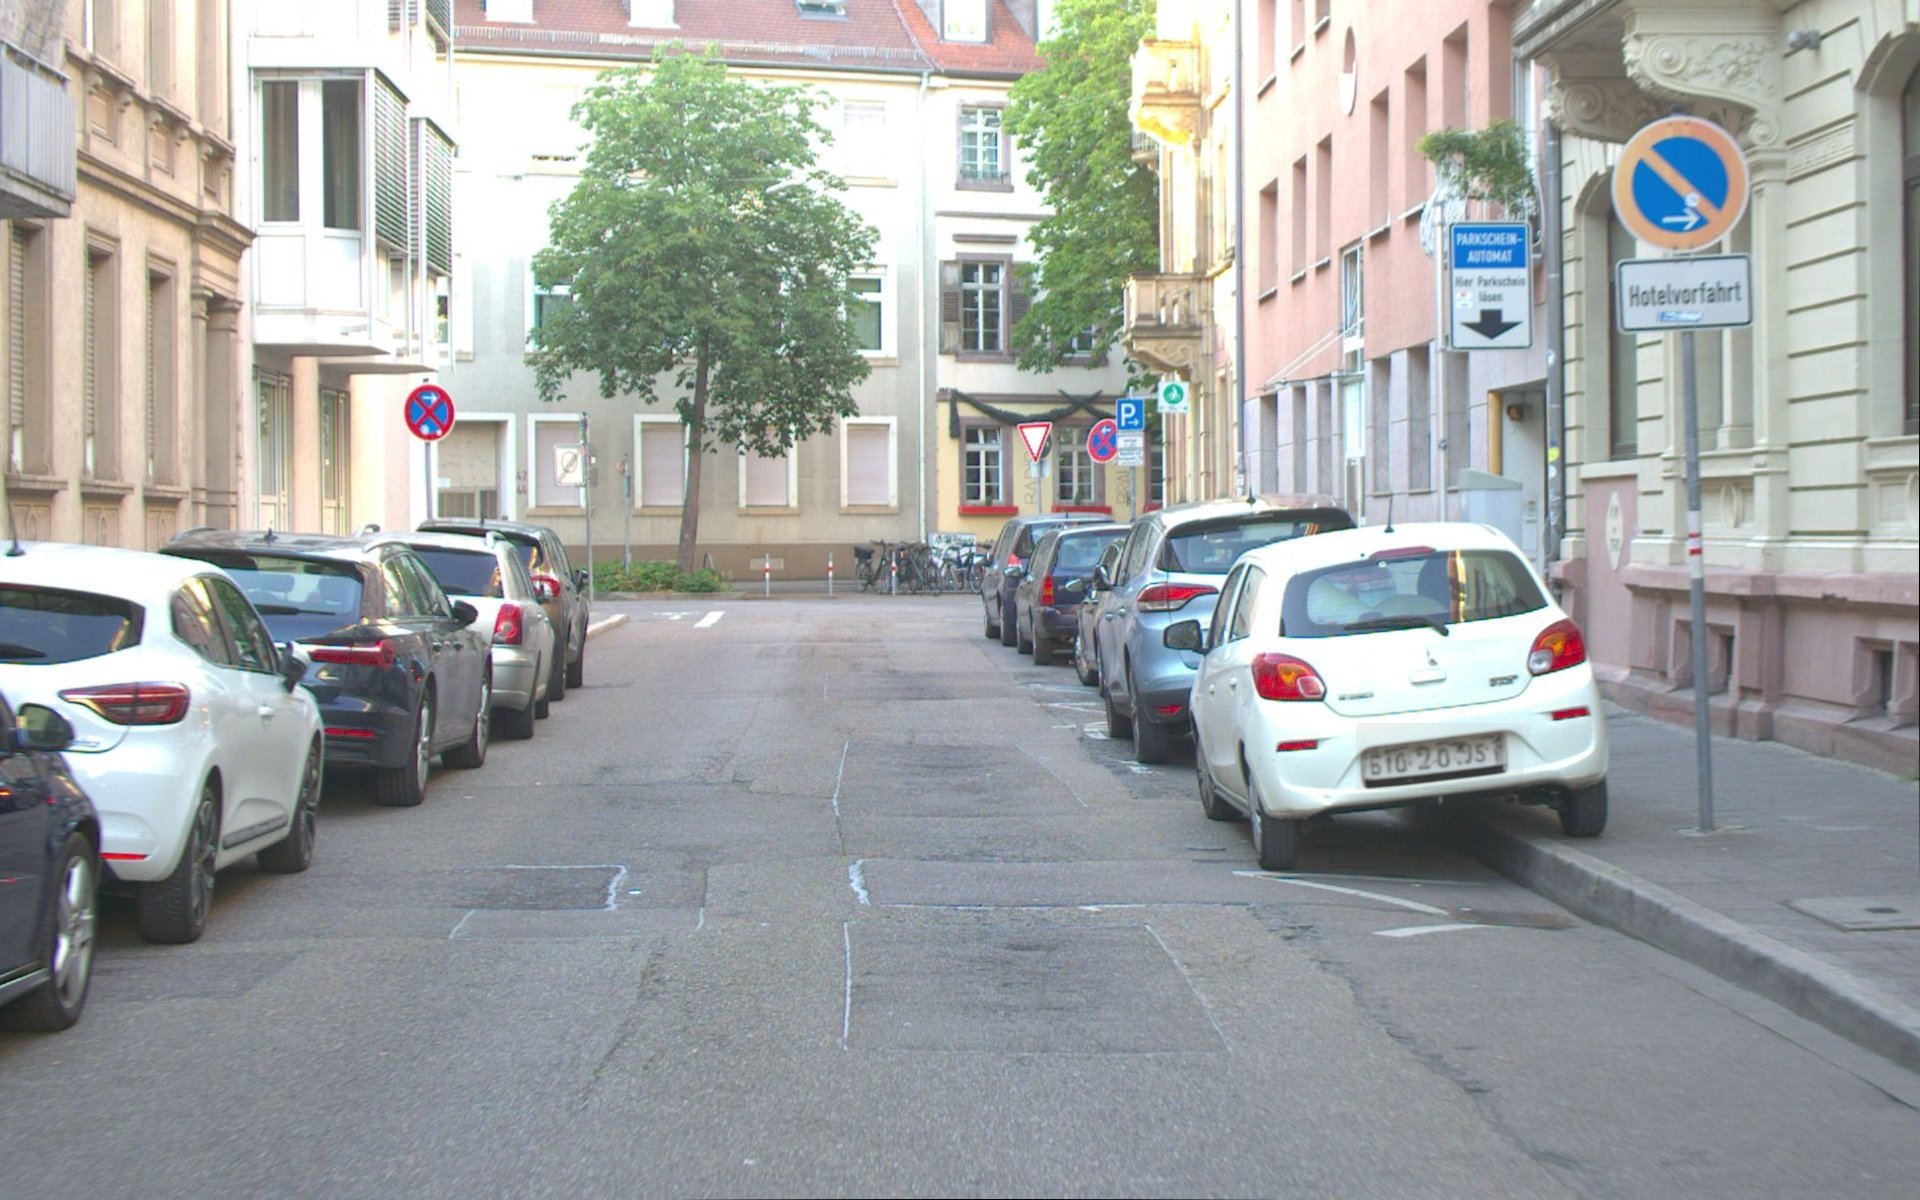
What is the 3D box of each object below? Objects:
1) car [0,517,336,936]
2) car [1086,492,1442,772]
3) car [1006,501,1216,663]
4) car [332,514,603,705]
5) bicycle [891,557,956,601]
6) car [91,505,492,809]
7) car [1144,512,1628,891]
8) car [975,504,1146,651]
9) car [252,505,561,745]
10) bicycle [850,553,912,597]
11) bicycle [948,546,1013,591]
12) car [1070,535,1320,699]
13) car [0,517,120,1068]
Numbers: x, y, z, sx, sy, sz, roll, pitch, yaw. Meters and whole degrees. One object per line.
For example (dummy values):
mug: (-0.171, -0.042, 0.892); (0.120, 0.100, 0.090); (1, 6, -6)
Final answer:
car: (-3.686, 0.414, 14.164); (1.630, 1.467, 3.755); (-1, 2, -2)
car: (1.966, 0.154, 23.428); (1.993, 1.726, 4.060); (-1, 1, -1)
car: (1.651, -0.240, 38.900); (1.993, 1.703, 4.001); (-1, 1, -3)
car: (-4.565, 0.035, 32.418); (1.993, 1.657, 3.978); (-1, 1, -1)
bicycle: (-0.794, -0.466, 74.407); (0.518, 0.891, 1.725); (-2, 3, -34)
car: (-3.803, 0.240, 20.210); (1.614, 1.565, 4.304); (-1, 2, -2)
car: (1.961, 0.393, 16.863); (1.662, 1.453, 3.759); (-6, 2, -1)
car: (1.236, -0.319, 43.989); (1.993, 1.755, 4.000); (-1, 1, -1)
car: (-4.129, 0.122, 26.288); (1.993, 1.661, 4.410); (-1, 1, -5)
bicycle: (-1.750, -0.550, 75.823); (0.518, 0.945, 1.725); (-1, 0, -34)
bicycle: (0.437, -0.690, 75.055); (0.518, 0.945, 1.725); (-2, 2, -34)
car: (2.106, 0.117, 31.776); (1.993, 1.379, 3.707); (-1, 1, -1)
car: (-3.496, 0.555, 9.012); (1.728, 1.503, 3.831); (-1, 2, -2)
